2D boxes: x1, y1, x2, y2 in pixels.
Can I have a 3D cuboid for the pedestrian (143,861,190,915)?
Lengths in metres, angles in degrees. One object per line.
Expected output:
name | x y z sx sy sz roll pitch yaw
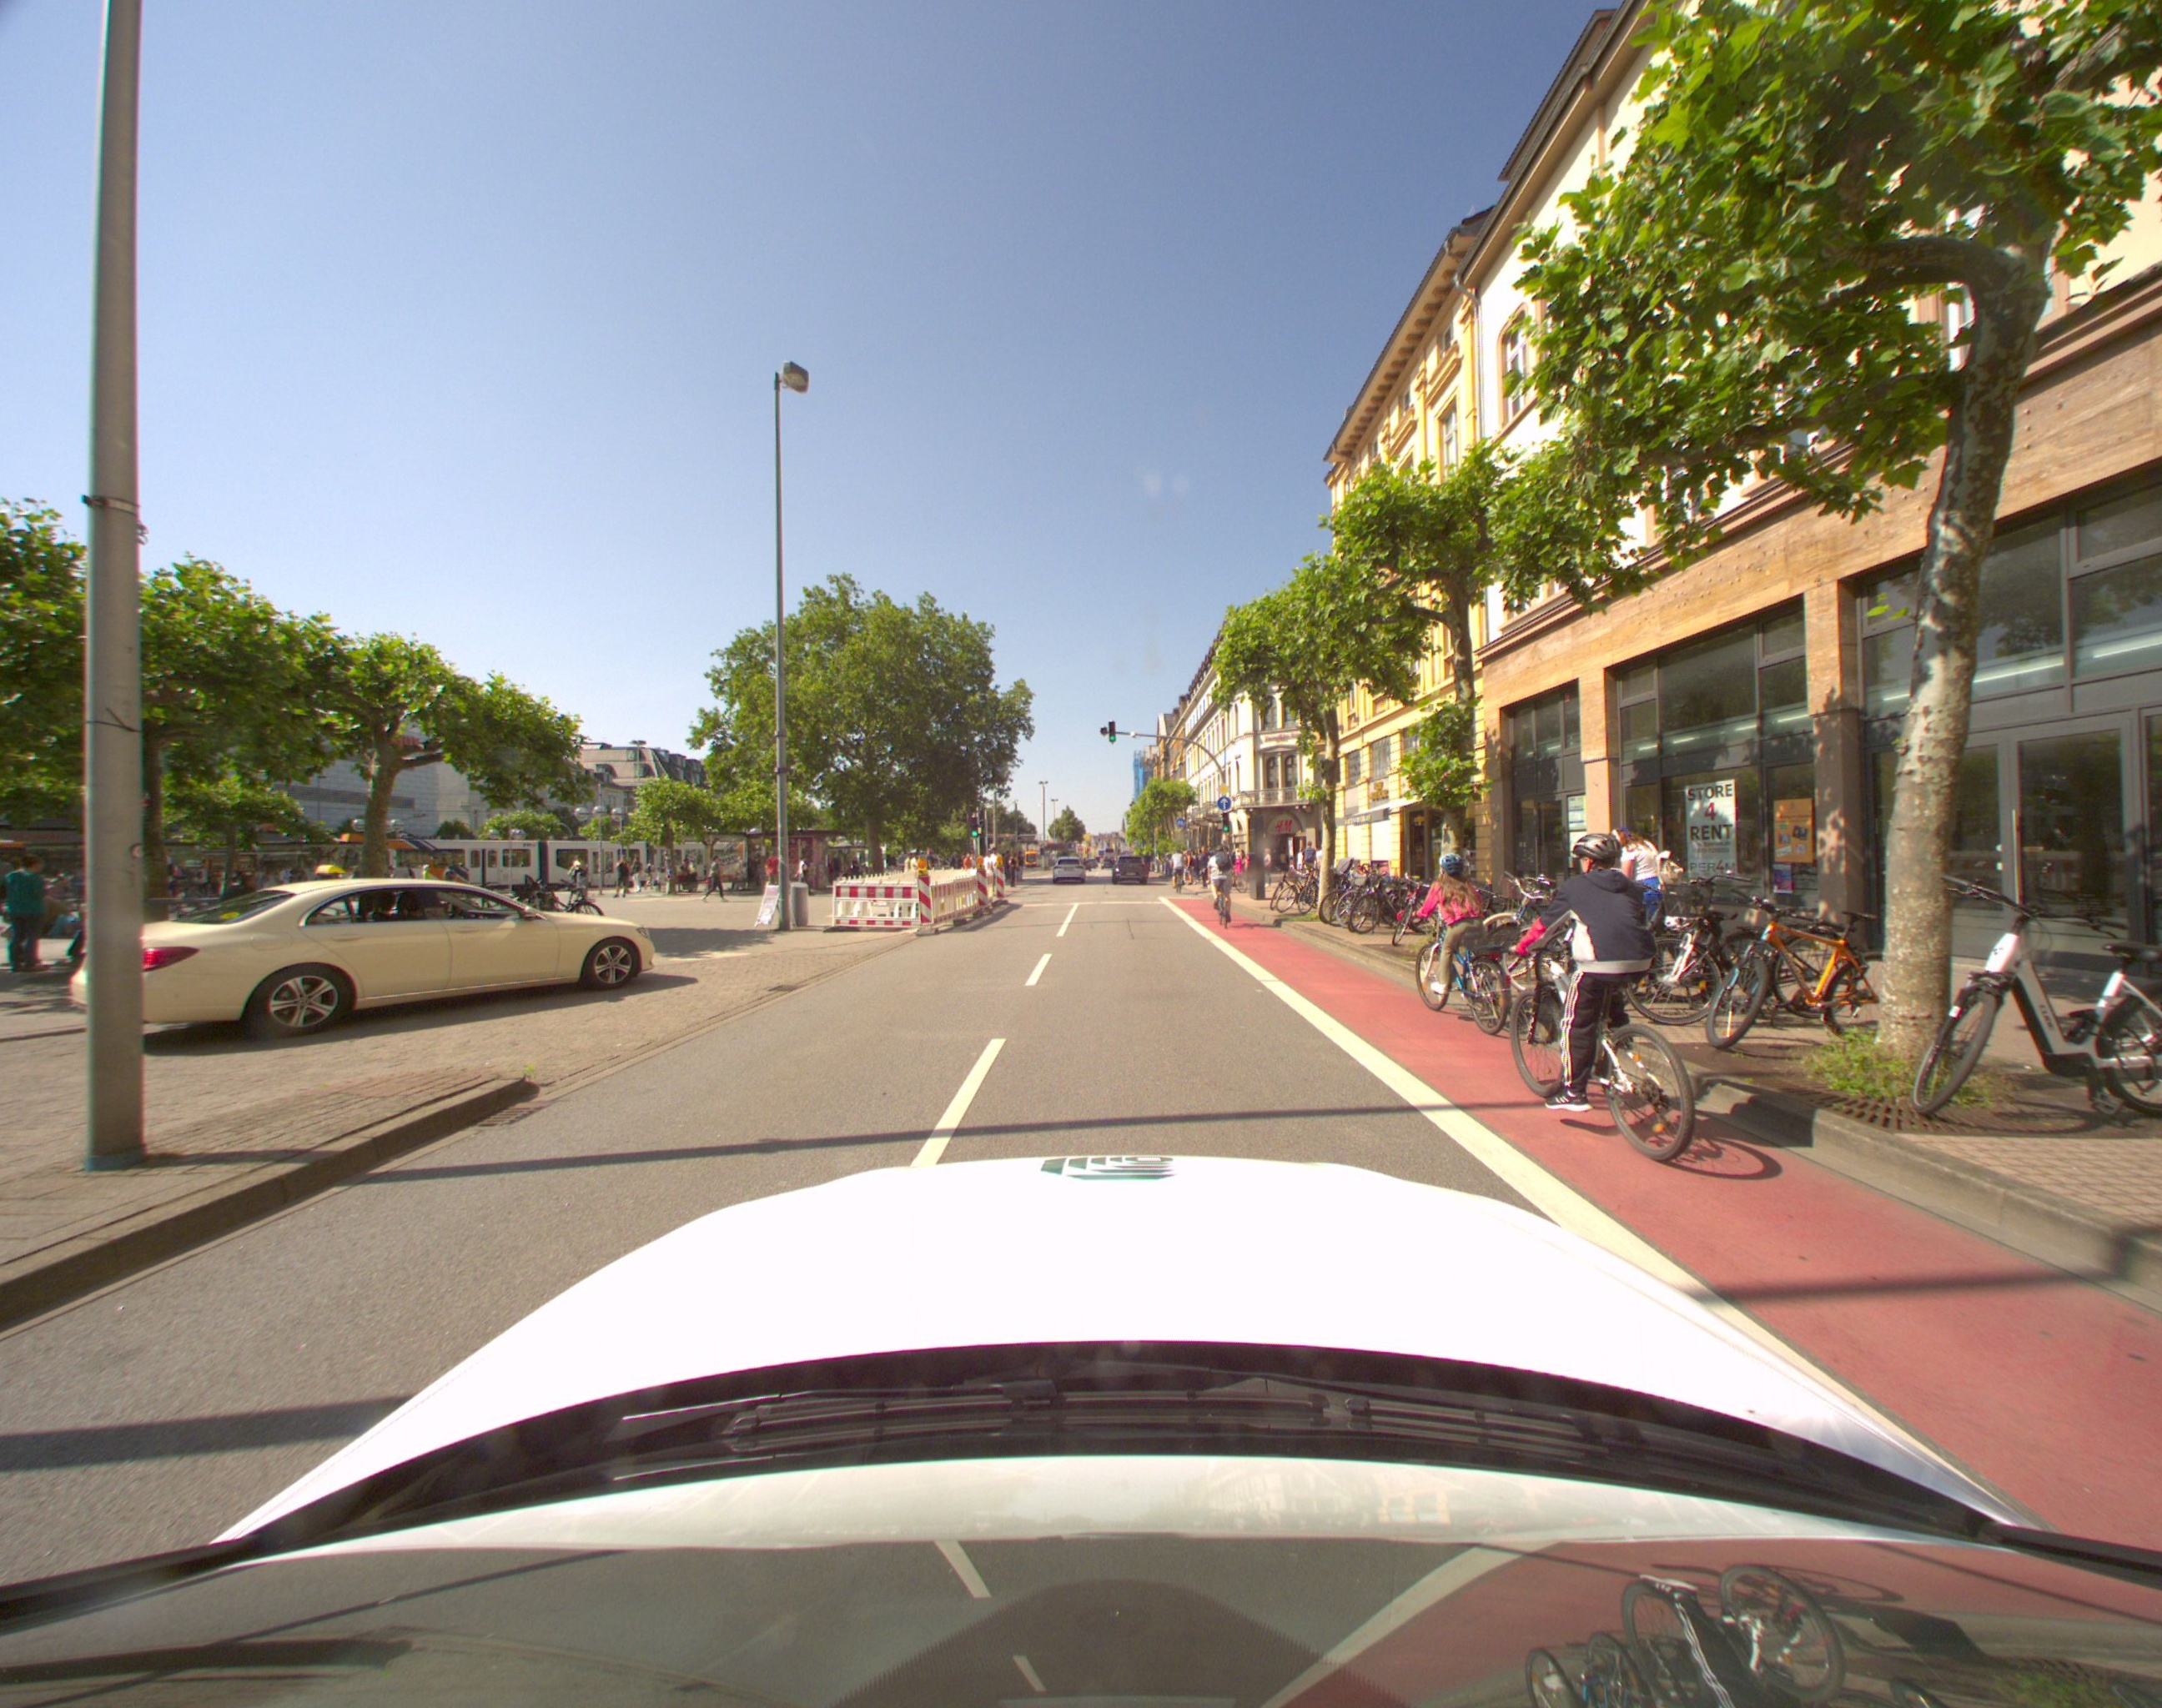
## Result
pedestrian | -30.082 1.110 26.794 0.799 1.749 0.605 0 -1 -4

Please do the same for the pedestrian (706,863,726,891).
pedestrian | -16.888 1.049 37.645 0.605 1.262 0.615 -1 0 37

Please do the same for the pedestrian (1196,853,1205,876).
pedestrian | 9.523 0.822 65.109 0.626 1.791 0.612 -1 -1 1

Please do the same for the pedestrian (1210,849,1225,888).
pedestrian | 5.780 0.624 34.493 0.546 1.631 0.589 -2 -1 4

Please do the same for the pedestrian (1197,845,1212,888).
pedestrian | 5.492 0.550 36.164 0.520 1.898 0.642 -2 -1 5

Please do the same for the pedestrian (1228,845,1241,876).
pedestrian | 9.010 0.369 47.955 0.608 1.824 0.677 -1 -1 0

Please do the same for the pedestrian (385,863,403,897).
pedestrian | -36.404 1.374 43.146 0.737 1.749 0.610 -1 -1 40

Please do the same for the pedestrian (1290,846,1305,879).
pedestrian | 12.123 0.485 45.651 0.608 1.807 0.677 -1 -1 0

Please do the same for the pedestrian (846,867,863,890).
pedestrian | -13.342 1.438 47.894 0.627 1.293 0.735 -1 -1 22

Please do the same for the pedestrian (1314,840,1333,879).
pedestrian | 11.491 0.260 38.592 0.554 1.801 0.581 -1 -1 -43

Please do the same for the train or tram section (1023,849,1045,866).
train or tram section | -9.443 0.658 164.700 2.600 3.348 11.018 -1 0 5

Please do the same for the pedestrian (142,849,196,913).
pedestrian | -26.121 0.778 23.328 0.800 1.799 0.605 0 -1 -5

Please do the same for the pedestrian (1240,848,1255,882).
pedestrian | 8.144 0.524 39.849 0.521 1.611 0.642 -2 -1 2

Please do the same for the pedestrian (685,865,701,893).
pedestrian | -17.812 1.136 37.393 0.611 1.262 0.609 -1 0 -20

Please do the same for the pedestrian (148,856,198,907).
pedestrian | -27.995 0.846 25.119 0.799 1.561 0.605 0 -1 -4

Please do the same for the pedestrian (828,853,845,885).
pedestrian | -14.206 0.844 47.311 0.627 1.810 0.618 -5 -2 21

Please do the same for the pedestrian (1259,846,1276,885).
pedestrian | 8.065 0.491 35.263 0.546 1.640 0.589 -2 -1 4

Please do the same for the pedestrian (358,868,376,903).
pedestrian | -37.032 1.627 42.231 0.737 1.749 0.610 -1 -1 40

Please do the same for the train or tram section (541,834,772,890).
train or tram section | -30.778 0.491 60.593 2.587 3.676 15.647 -1 0 37

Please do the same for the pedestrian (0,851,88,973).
pedestrian | -14.921 0.804 11.607 0.670 1.677 0.686 0 0 -7

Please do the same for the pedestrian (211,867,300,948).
pedestrian | -14.833 0.938 14.649 0.667 1.381 0.900 0 0 10

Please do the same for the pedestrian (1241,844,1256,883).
pedestrian | 8.011 0.458 38.978 0.521 1.823 0.642 -2 -1 2

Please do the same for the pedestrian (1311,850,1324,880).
pedestrian | 13.171 0.610 45.339 0.538 1.633 0.677 0 -1 0

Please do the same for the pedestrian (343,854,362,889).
pedestrian | -36.962 0.875 41.316 0.737 1.749 0.610 -1 -1 40

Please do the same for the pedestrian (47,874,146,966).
pedestrian | -14.773 0.965 12.238 0.672 1.309 0.683 0 0 -16

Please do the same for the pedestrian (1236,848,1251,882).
pedestrian | 7.891 0.551 39.526 0.521 1.609 0.642 -2 -1 2

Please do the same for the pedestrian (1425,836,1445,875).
pedestrian | 14.316 0.068 32.949 0.520 1.521 0.642 -2 -1 5

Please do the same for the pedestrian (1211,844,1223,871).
pedestrian | 9.121 0.219 54.461 0.673 1.791 0.612 -1 -1 1

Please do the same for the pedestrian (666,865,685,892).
pedestrian | -19.126 1.148 38.416 0.616 1.262 0.604 -1 -1 -43

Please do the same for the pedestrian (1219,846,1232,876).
pedestrian | 8.631 0.420 48.756 0.608 1.807 0.677 -1 -1 0

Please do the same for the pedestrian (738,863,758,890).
pedestrian | -15.853 1.063 38.757 0.605 1.262 0.615 -1 0 28

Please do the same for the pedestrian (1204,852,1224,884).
pedestrian | 8.075 0.845 49.454 0.608 1.805 0.677 -16 -1 -1

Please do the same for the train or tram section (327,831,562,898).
train or tram section | -38.610 0.569 50.086 2.587 3.676 11.072 -1 0 37

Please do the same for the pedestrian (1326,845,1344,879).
pedestrian | 11.996 0.398 38.457 0.554 1.569 0.581 -1 -1 -43

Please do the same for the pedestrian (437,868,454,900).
pedestrian | -35.811 1.693 45.889 0.793 1.749 0.610 -1 -1 40

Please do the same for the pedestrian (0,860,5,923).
pedestrian | -30.585 1.036 22.520 0.799 1.749 0.605 0 -1 -4

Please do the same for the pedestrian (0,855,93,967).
pedestrian | -15.568 0.826 12.147 0.804 1.606 0.670 0 0 -12

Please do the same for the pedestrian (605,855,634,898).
pedestrian | -18.686 0.902 32.988 0.598 1.749 0.809 0 -1 33

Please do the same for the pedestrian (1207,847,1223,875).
pedestrian | 8.372 0.425 50.916 0.613 1.705 0.672 -2 0 -27

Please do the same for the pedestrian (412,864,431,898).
pedestrian | -34.308 1.414 42.378 0.737 1.749 0.610 -1 -1 40
